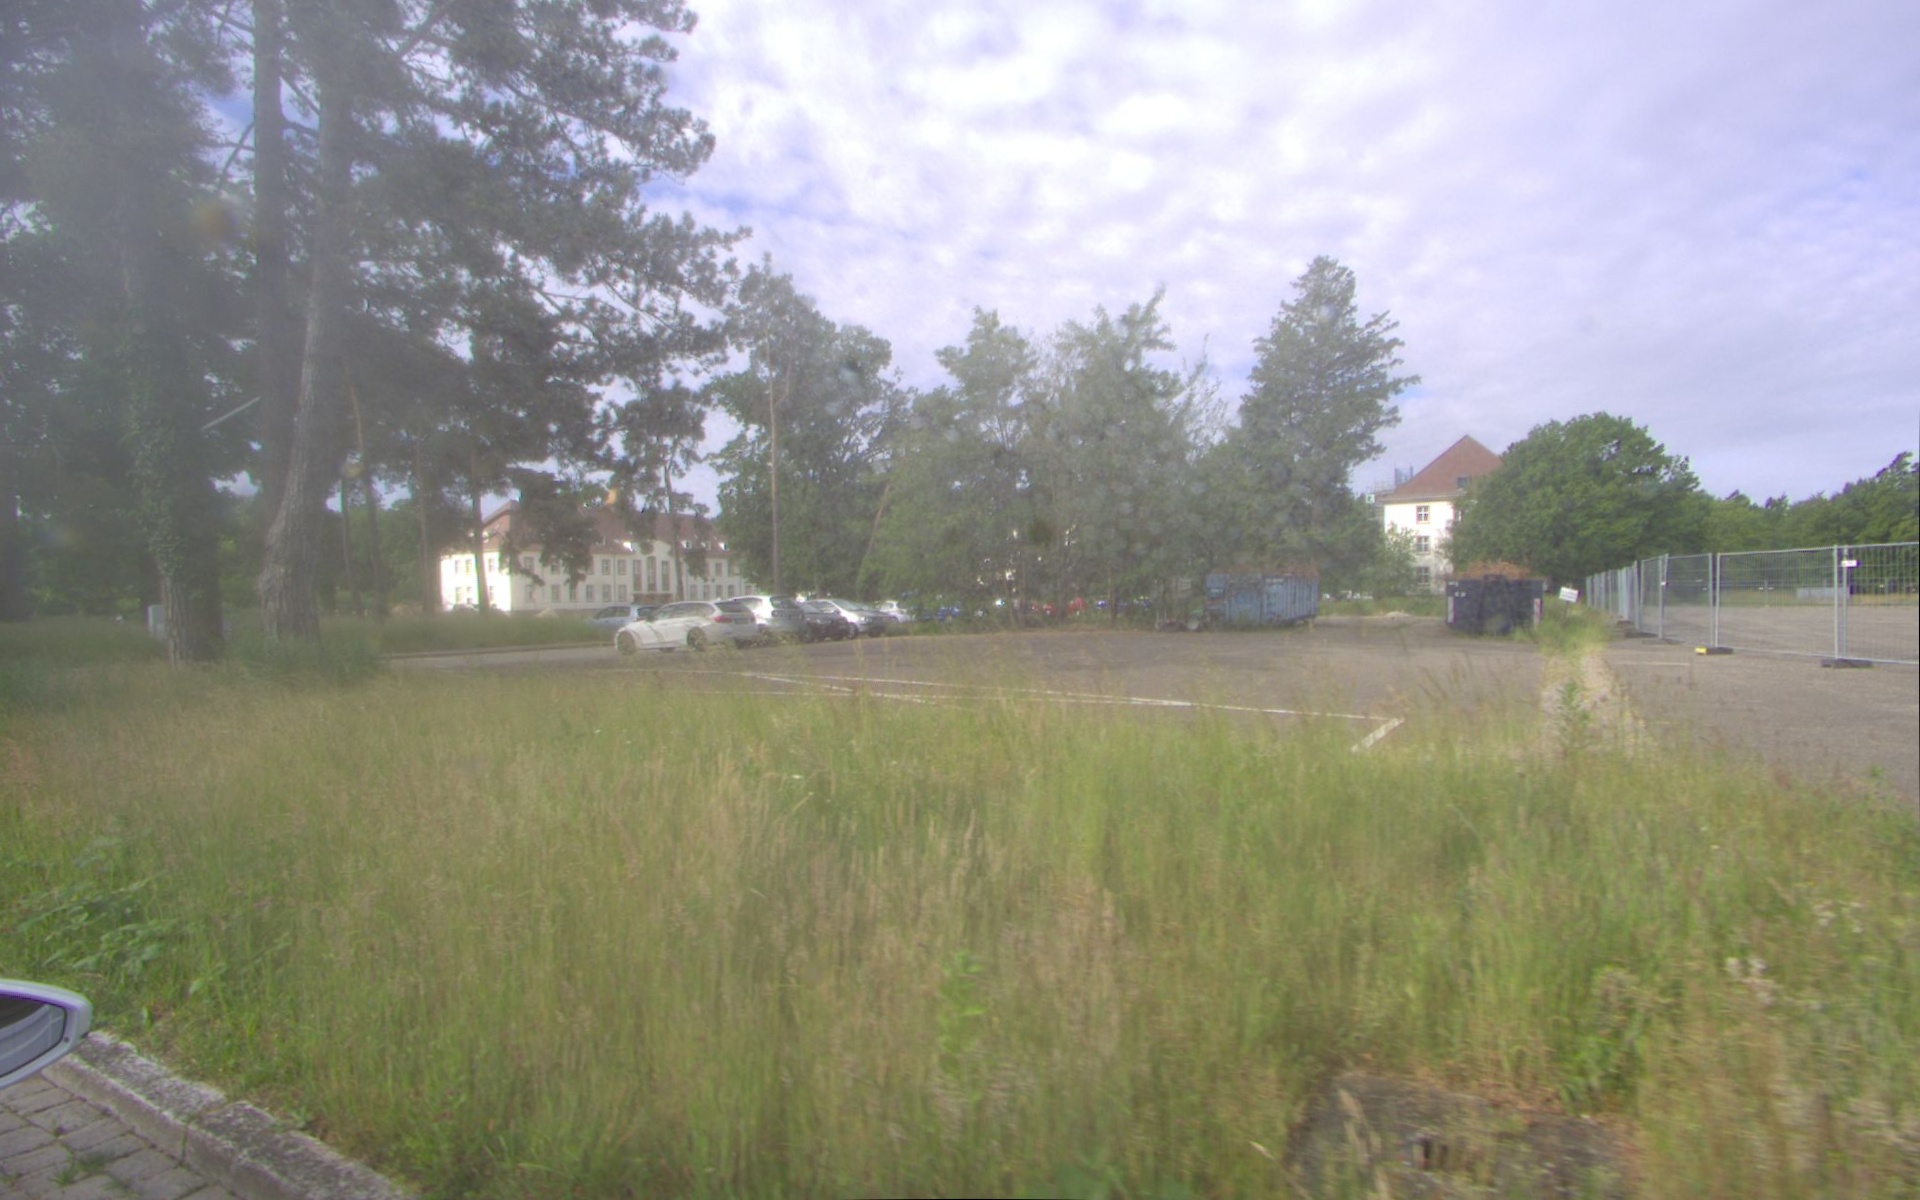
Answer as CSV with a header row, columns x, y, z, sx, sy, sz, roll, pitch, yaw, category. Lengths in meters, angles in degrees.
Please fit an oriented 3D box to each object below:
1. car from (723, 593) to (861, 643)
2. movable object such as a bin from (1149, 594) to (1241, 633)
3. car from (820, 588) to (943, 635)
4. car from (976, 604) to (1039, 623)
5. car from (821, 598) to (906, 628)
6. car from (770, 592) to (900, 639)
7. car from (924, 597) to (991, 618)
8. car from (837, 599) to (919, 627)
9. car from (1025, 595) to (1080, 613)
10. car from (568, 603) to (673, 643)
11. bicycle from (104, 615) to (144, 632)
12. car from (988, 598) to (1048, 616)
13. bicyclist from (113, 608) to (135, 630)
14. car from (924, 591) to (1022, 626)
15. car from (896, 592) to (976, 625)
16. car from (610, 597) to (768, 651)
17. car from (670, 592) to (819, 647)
x,y,z,sx,sy,sz,roll,pitch,yaw,category
-5.660,0.585,33.653,4.379,1.598,1.864,-1,1,28,car
7.071,0.393,30.199,2.504,1.098,1.060,1,1,30,movable object such as a bin
-3.020,0.448,38.367,4.379,1.709,1.864,-1,1,28,car
3.255,0.889,68.234,3.933,1.226,1.657,-1,1,23,car
-5.285,0.715,54.496,4.379,1.544,1.750,-1,1,28,car
-4.538,0.542,36.181,4.379,1.598,1.864,-1,1,28,car
-0.185,0.476,63.031,3.940,1.226,1.654,-1,1,30,car
-4.624,0.724,56.651,4.379,1.544,1.750,-1,1,28,car
7.202,0.329,77.932,3.936,1.373,1.656,-1,1,26,car
-13.975,0.944,41.149,4.385,1.544,1.748,-1,1,33,car
-58.890,1.656,70.563,0.797,1.110,1.984,0,1,27,bicycle
4.121,0.504,70.963,3.933,1.225,1.657,-1,1,23,car
-58.891,1.315,70.532,0.795,1.531,0.973,0,1,28,bicyclist
0.618,0.429,48.248,4.379,1.598,1.864,-1,1,28,car
-1.452,0.524,60.859,4.585,1.994,1.750,-1,1,28,car
-7.847,0.694,28.892,4.379,1.434,1.750,-2,0,28,car
-6.753,0.595,31.246,4.379,1.598,1.864,-1,1,28,car
